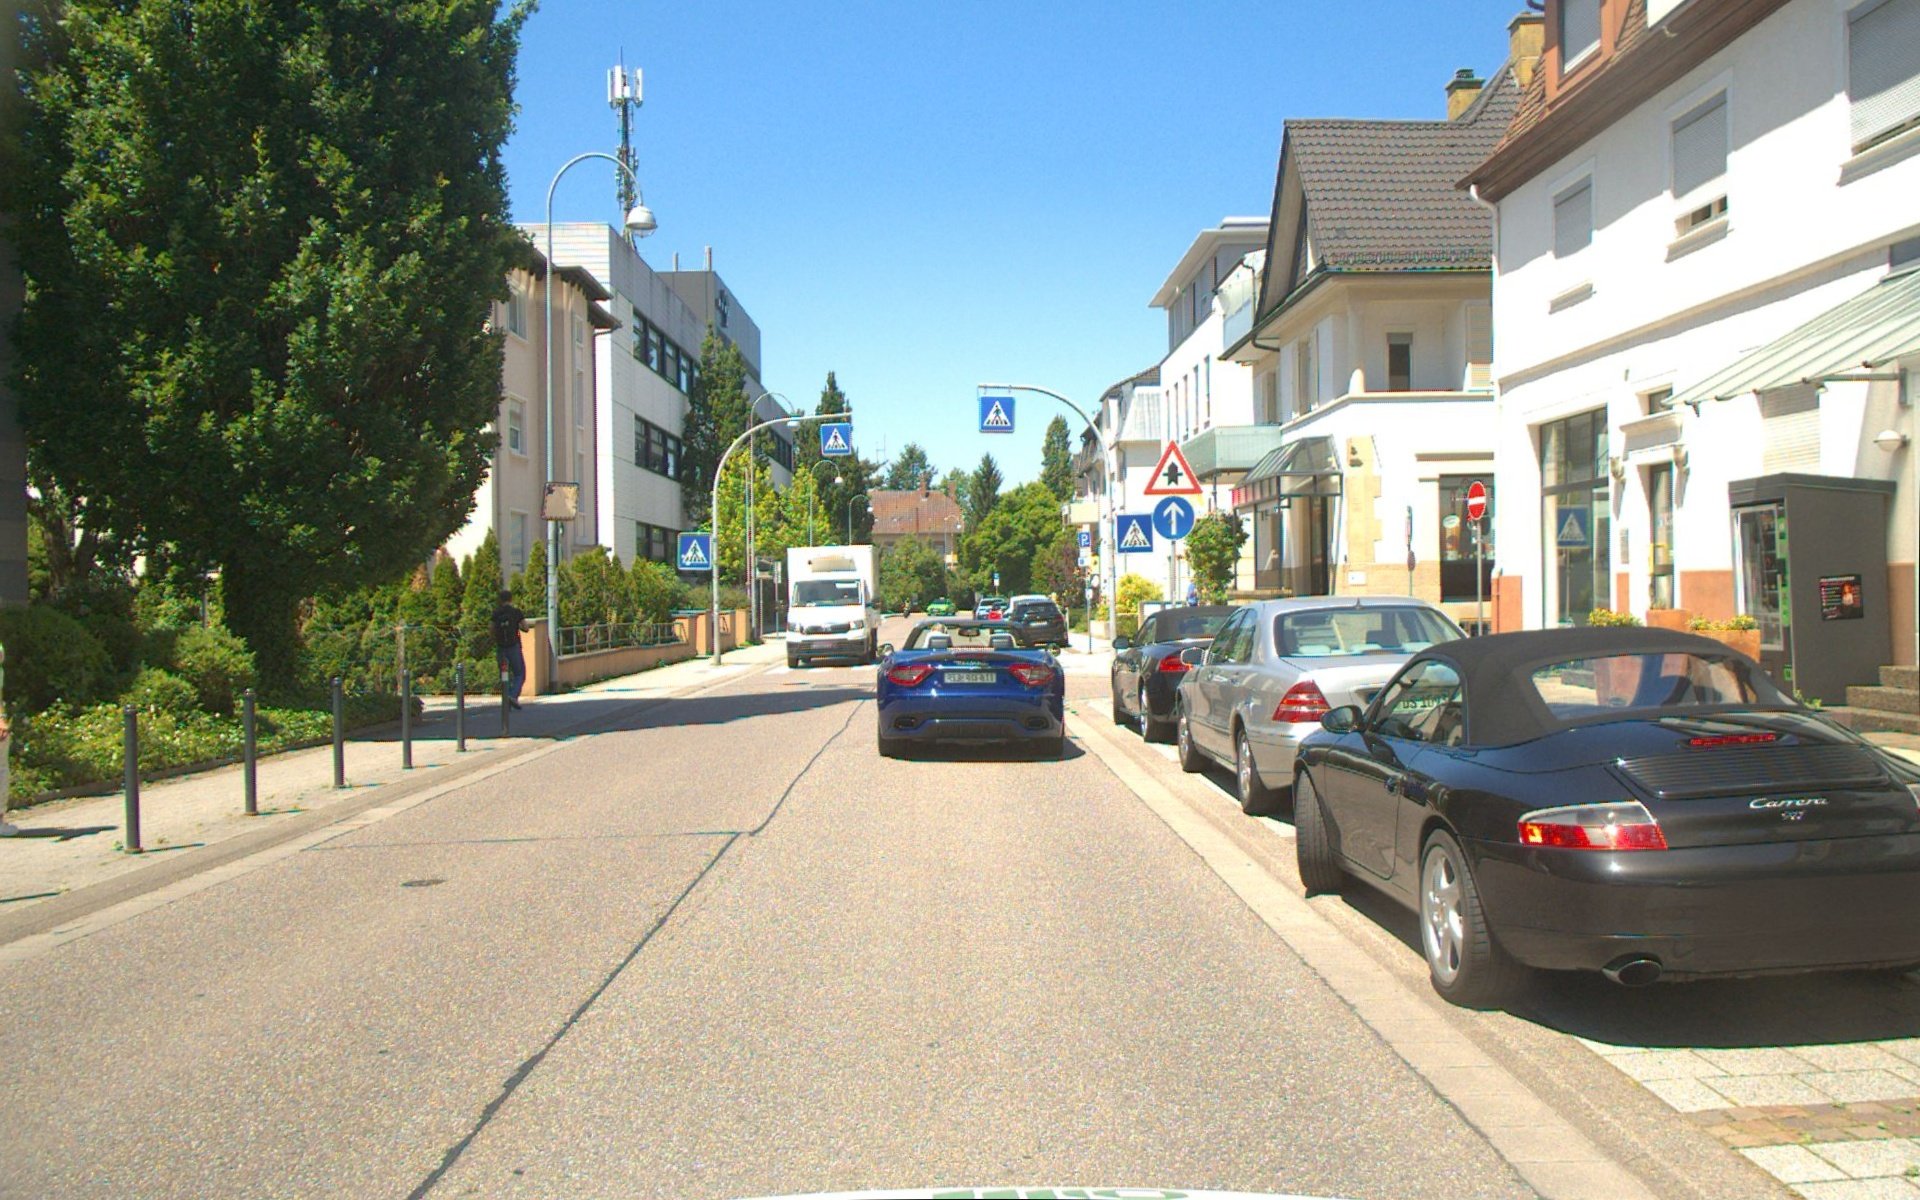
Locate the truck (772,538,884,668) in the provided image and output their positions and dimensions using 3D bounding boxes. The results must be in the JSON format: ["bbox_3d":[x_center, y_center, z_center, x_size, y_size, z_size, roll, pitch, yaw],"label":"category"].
[{"bbox_3d":[-3.284,0.066,42.558,2.370,3.035,6.257,-1,0,-1],"label":"truck"}]

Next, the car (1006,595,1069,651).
[{"bbox_3d":[2.399,0.696,52.361,1.670,1.583,4.747,-3,0,0],"label":"car"}]

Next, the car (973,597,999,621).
[{"bbox_3d":[1.732,0.572,111.547,1.599,1.471,4.397,-4,0,-1],"label":"car"}]

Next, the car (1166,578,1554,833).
[{"bbox_3d":[2.808,0.668,12.790,1.708,1.494,4.851,-3,0,-1],"label":"car"}]

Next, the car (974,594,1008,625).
[{"bbox_3d":[1.806,0.540,96.895,1.806,1.647,4.427,-3,0,0],"label":"car"}]

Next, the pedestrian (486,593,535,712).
[{"bbox_3d":[-6.556,0.758,24.154,0.525,1.715,0.708,0,0,-1],"label":"pedestrian"}]

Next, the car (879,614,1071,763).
[{"bbox_3d":[0.121,0.846,17.778,1.789,1.360,4.699,0,0,-1],"label":"car"}]

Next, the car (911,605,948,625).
[{"bbox_3d":[-2.678,1.316,144.665,1.798,1.616,4.070,3,-1,-23],"label":"car"}]

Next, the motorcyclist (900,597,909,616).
[{"bbox_3d":[-4.394,0.487,131.283,0.684,1.458,0.707,-2,0,0],"label":"motorcyclist"}]

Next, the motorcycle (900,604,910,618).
[{"bbox_3d":[-4.380,0.864,131.436,0.684,1.126,1.790,-2,0,0],"label":"motorcycle"}]

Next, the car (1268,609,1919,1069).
[{"bbox_3d":[2.565,0.756,7.273,1.526,1.364,4.172,-2,0,-1],"label":"car"}]

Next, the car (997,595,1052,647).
[{"bbox_3d":[2.243,0.721,58.507,1.670,1.695,4.580,-2,0,0],"label":"car"}]

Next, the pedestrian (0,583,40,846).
[{"bbox_3d":[-6.514,0.748,10.879,0.525,1.715,0.708,0,0,-1],"label":"pedestrian"}]

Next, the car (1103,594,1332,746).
[{"bbox_3d":[2.795,0.714,18.979,1.789,1.451,4.699,-2,0,-1],"label":"car"}]

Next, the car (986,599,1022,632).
[{"bbox_3d":[2.097,0.727,79.947,1.571,1.466,3.853,-4,0,1],"label":"car"}]

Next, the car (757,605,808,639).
[{"bbox_3d":[-7.737,0.936,72.447,1.785,1.436,4.577,0,0,0],"label":"car"}]
